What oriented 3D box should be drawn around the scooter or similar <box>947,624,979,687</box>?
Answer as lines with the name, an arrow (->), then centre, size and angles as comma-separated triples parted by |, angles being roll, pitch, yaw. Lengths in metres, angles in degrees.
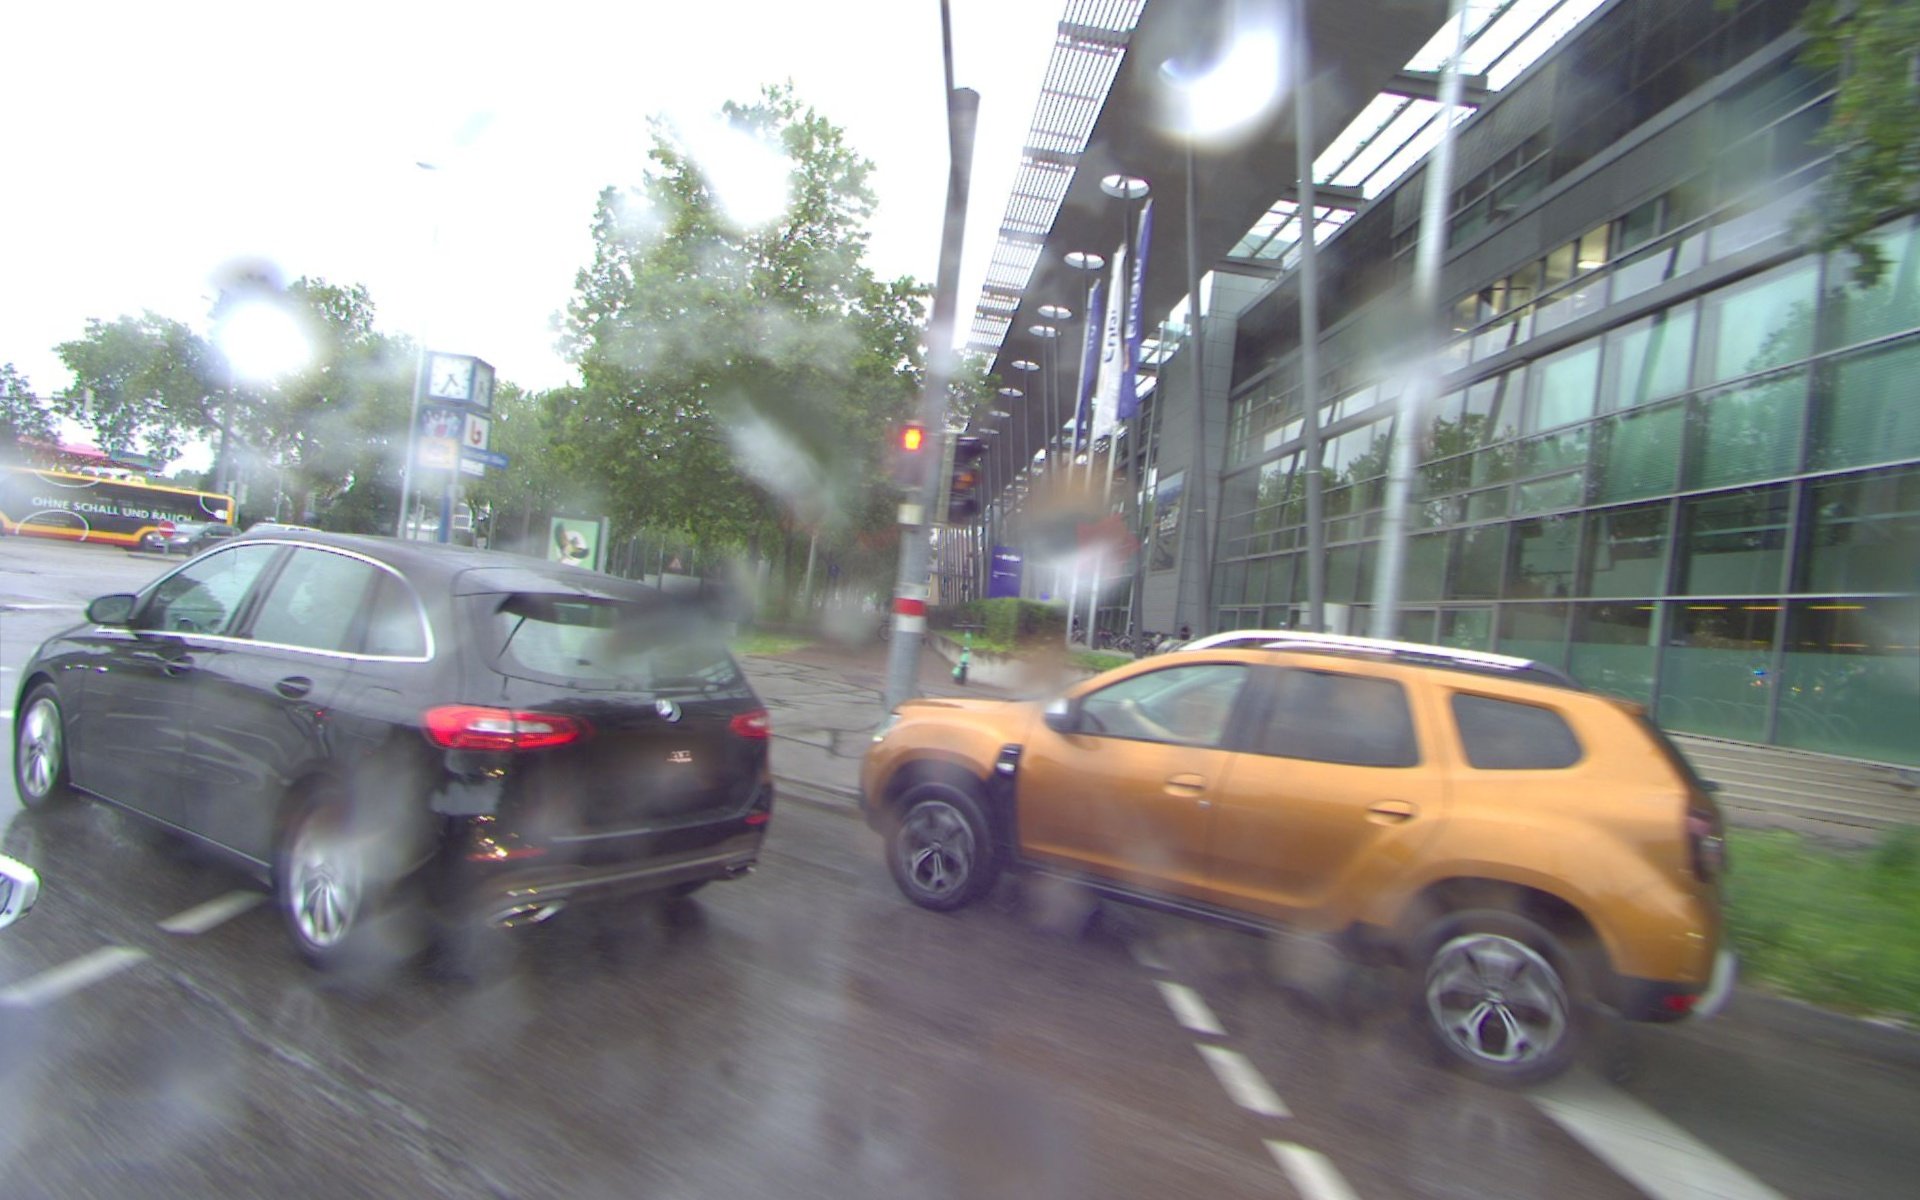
scooter or similar -> 0.048, 1.080, 19.902 | 0.335, 1.152, 1.173 | 6, 0, -8

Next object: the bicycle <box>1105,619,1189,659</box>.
bicycle -> 8.304, 1.715, 44.529 | 3.656, 1.348, 1.183 | 7, 0, -31

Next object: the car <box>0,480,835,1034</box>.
car -> -2.826, 0.411, 4.866 | 4.020, 1.542, 1.872 | 6, 0, 32

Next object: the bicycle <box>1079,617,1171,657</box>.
bicycle -> 7.625, 1.716, 46.507 | 3.932, 1.348, 1.190 | 7, 0, -10

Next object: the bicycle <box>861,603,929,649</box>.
bicycle -> -2.498, 0.961, 38.353 | 2.636, 1.459, 0.803 | 6, -2, 42

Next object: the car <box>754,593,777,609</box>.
car -> -21.607, 0.102, 111.701 | 1.809, 1.571, 3.998 | 7, 0, -3

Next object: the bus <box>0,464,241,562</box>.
bus -> -41.393, -4.152, 46.990 | 3.219, 3.308, 12.268 | 7, -1, 30

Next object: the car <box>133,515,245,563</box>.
car -> -35.082, -2.725, 45.941 | 1.899, 1.671, 4.338 | 7, -1, -5

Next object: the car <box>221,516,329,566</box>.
car -> -32.503, -2.736, 47.916 | 2.041, 1.871, 4.743 | 7, -1, -5

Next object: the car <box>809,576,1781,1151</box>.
car -> 1.472, 0.960, 5.351 | 4.101, 1.651, 1.903 | 6, -1, 31
